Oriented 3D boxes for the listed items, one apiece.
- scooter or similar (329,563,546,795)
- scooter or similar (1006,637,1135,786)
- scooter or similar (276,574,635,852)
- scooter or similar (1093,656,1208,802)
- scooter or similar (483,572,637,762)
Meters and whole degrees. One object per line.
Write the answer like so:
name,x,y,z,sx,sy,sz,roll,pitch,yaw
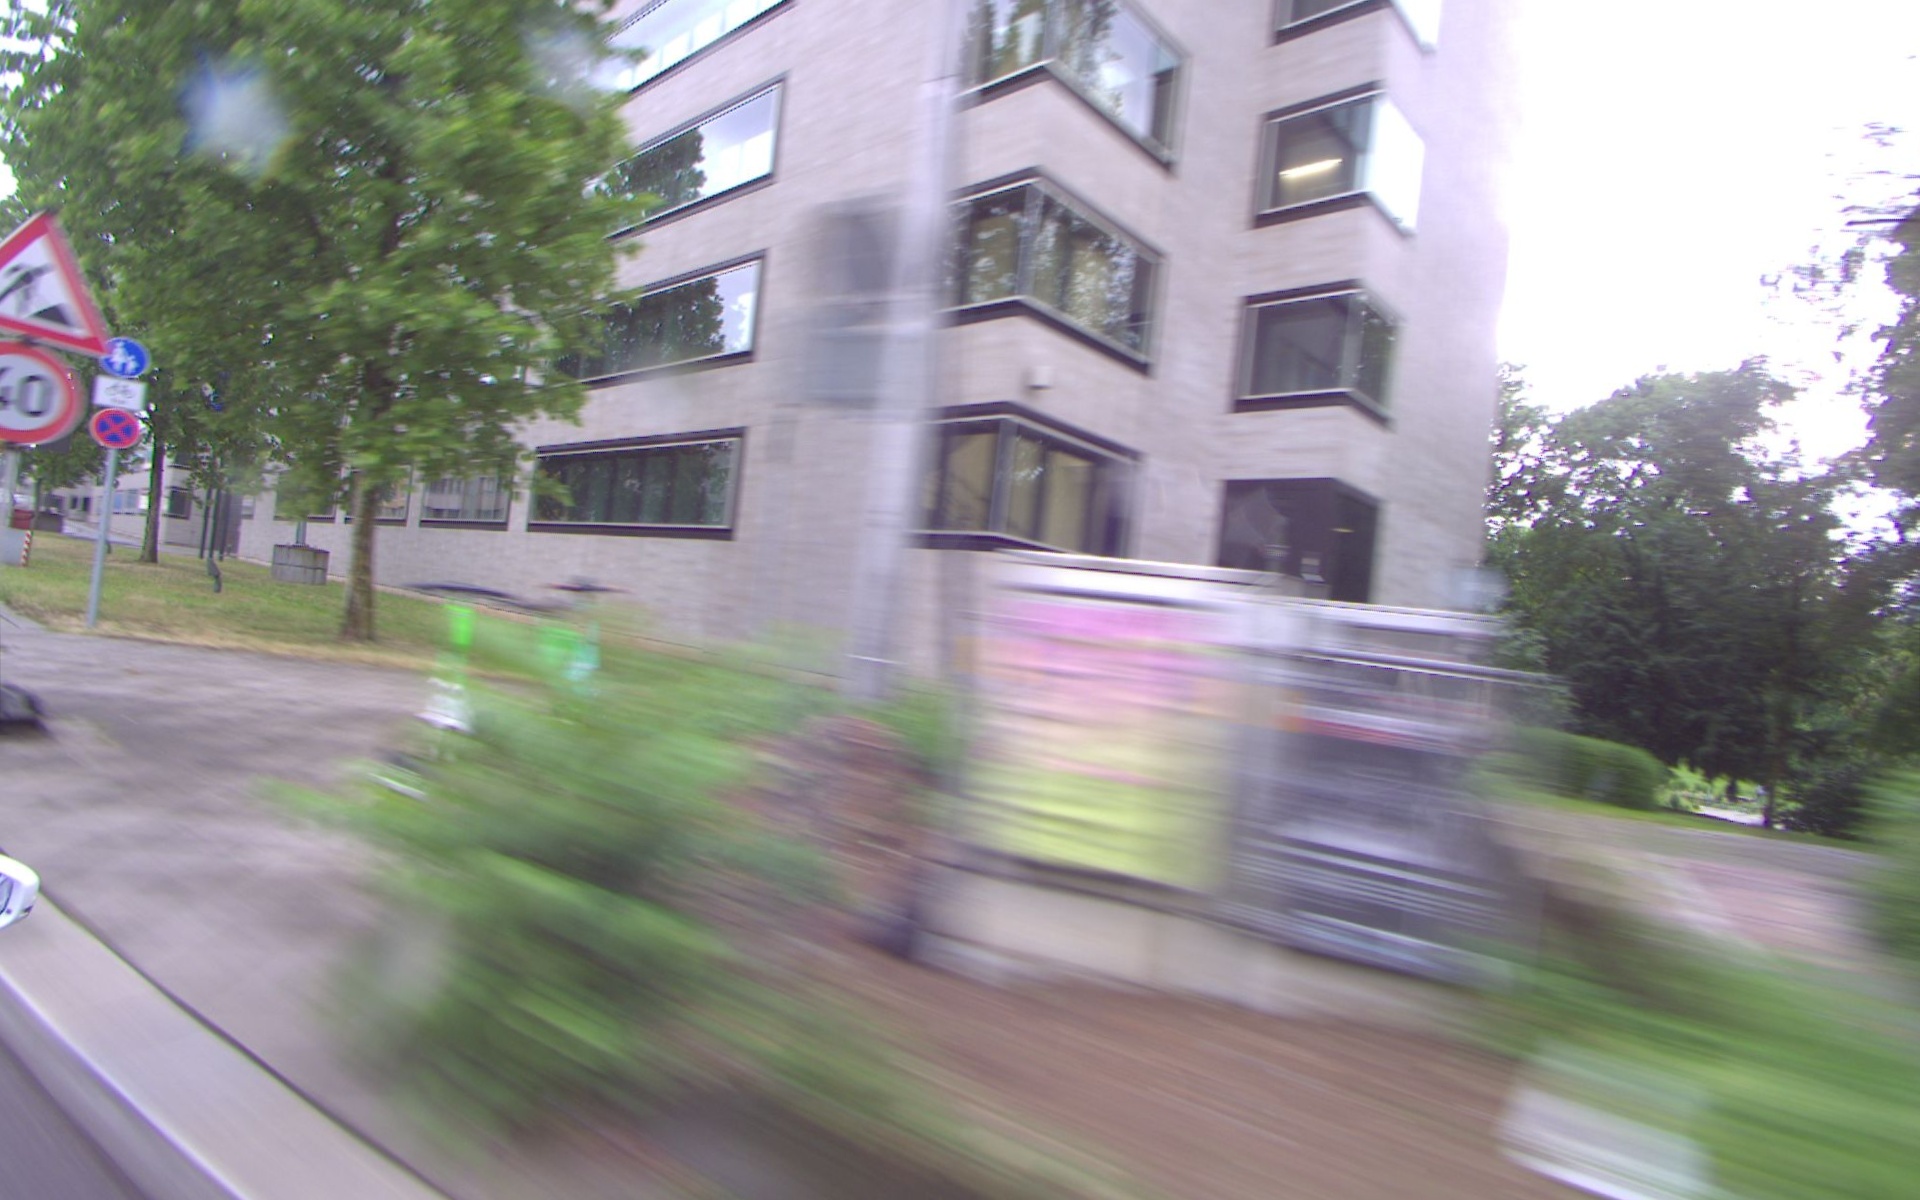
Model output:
scooter or similar,-3.146,0.446,6.204,0.677,1.215,1.337,6,-1,-8
scooter or similar,1.109,1.094,9.928,0.546,1.328,1.236,6,-1,40
scooter or similar,-2.590,0.533,5.185,1.563,1.142,0.637,6,0,18
scooter or similar,1.925,1.280,10.083,0.465,1.328,1.236,6,-1,40
scooter or similar,-2.939,0.458,7.334,0.560,1.215,1.311,6,-1,-40
